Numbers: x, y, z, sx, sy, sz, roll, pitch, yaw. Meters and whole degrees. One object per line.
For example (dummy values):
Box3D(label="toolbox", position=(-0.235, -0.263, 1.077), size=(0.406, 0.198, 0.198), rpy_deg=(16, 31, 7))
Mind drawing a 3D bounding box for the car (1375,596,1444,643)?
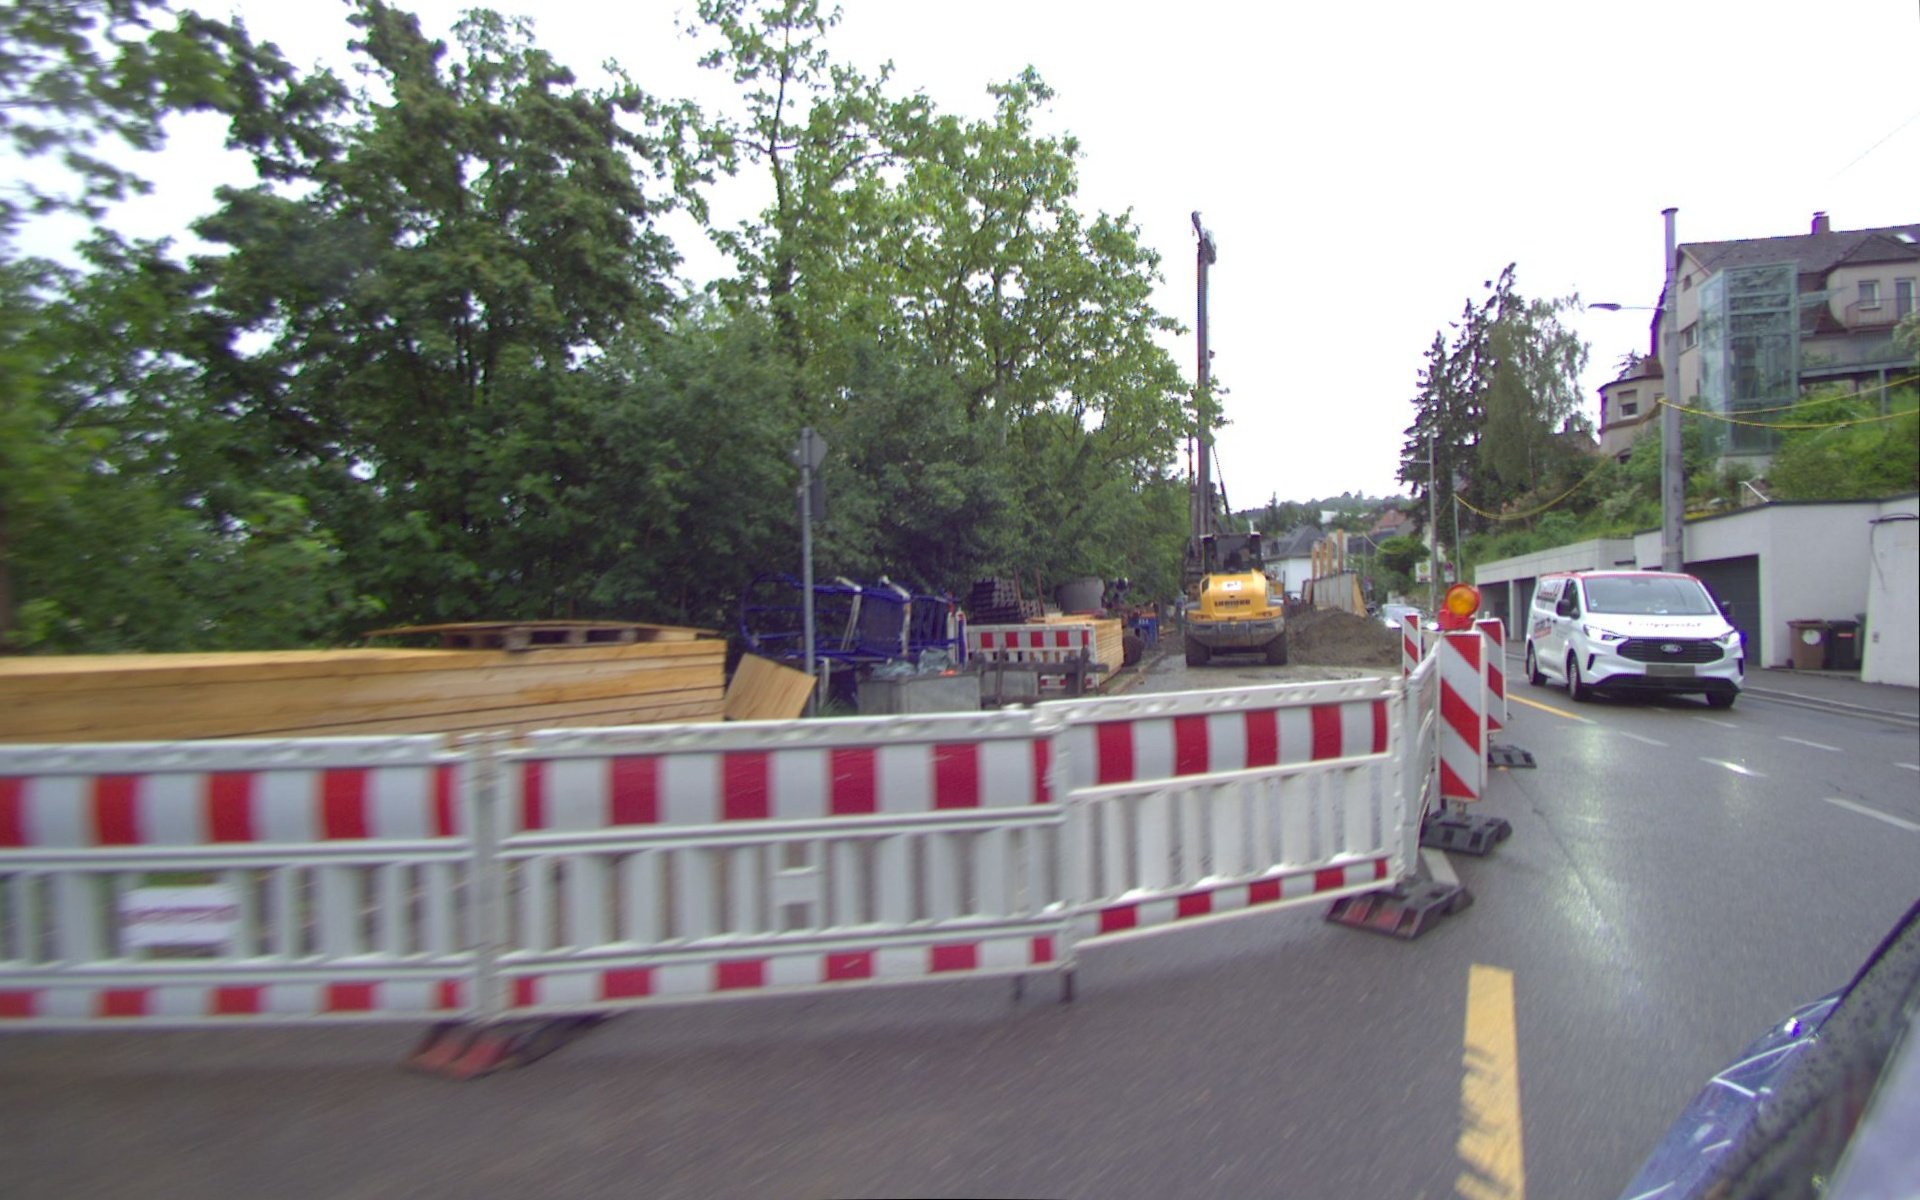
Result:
Box3D(label="car", position=(16.830, 0.726, 38.056), size=(1.974, 1.605, 3.974), rpy_deg=(-3, -2, 19))

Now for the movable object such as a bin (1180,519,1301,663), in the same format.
Box3D(label="movable object such as a bin", position=(6.804, -0.213, 24.479), size=(2.500, 3.106, 4.833), rpy_deg=(-1, 0, 17))

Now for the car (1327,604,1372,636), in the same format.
Box3D(label="car", position=(21.325, 1.094, 55.530), size=(1.972, 1.605, 3.978), rpy_deg=(-3, -2, 17))

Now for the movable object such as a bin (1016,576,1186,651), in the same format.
Box3D(label="movable object such as a bin", position=(4.148, 0.381, 29.557), size=(4.502, 2.026, 2.519), rpy_deg=(-1, 0, 20))

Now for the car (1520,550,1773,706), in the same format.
Box3D(label="car", position=(10.464, 0.356, 15.912), size=(1.974, 2.039, 4.919), rpy_deg=(-1, 0, 19))

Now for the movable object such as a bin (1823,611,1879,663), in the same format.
Box3D(label="movable object such as a bin", position=(16.641, 0.683, 18.917), size=(0.502, 0.942, 0.764), rpy_deg=(-1, 0, 19))
